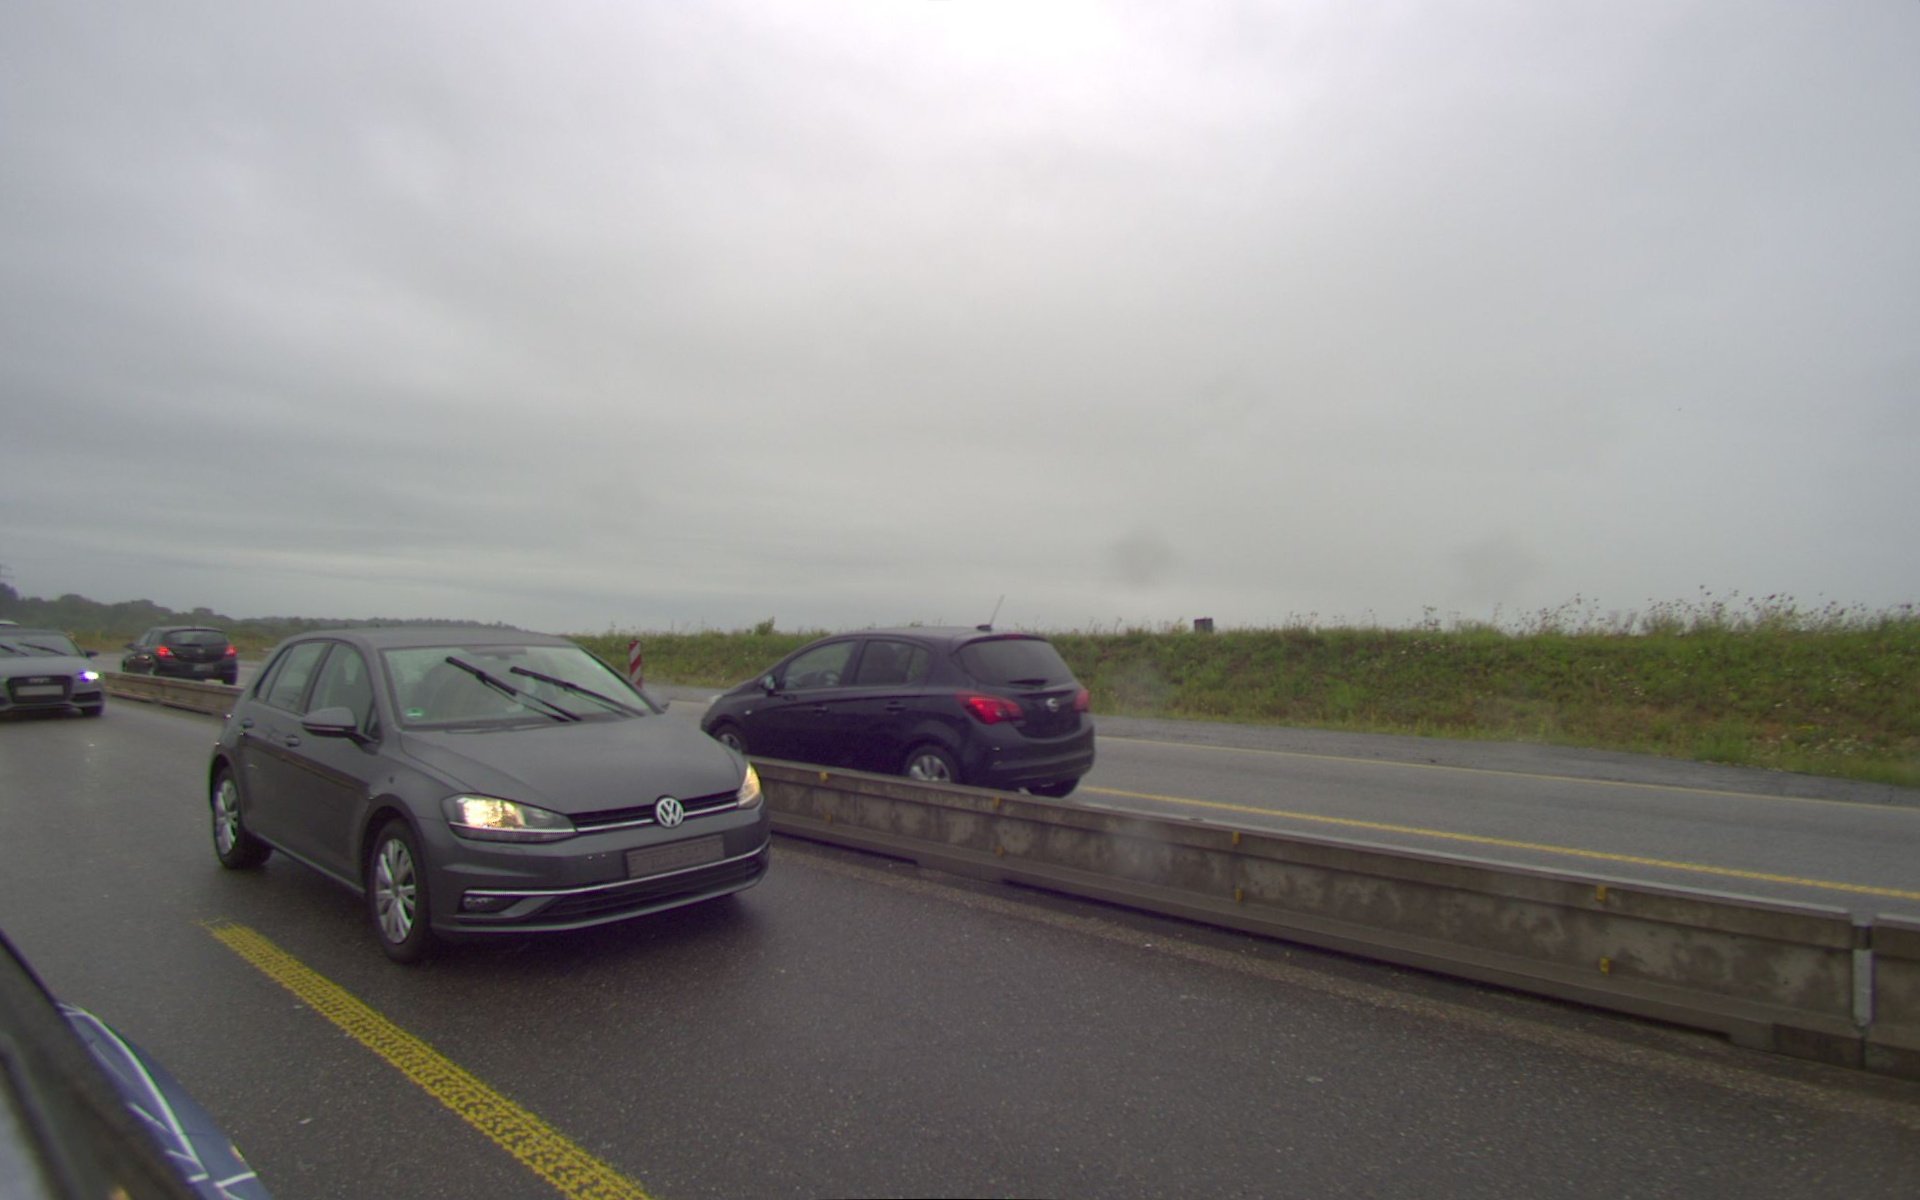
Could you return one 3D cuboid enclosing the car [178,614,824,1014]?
[{"bbox_3d":[-2.754,0.804,5.617,4.076,1.433,1.633,0,-1,39],"label":"car"}]

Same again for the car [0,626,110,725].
[{"bbox_3d":[-15.662,1.170,16.749,4.266,1.407,1.777,0,0,41],"label":"car"}]

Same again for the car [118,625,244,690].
[{"bbox_3d":[-19.361,1.394,25.083,4.458,1.454,1.593,-3,-2,41],"label":"car"}]

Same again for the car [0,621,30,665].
[{"bbox_3d":[-39.311,1.732,41.078,4.284,1.737,1.772,-1,-1,40],"label":"car"}]

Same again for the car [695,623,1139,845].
[{"bbox_3d":[-0.507,0.963,8.730,3.730,1.477,1.648,-2,-1,41],"label":"car"}]
